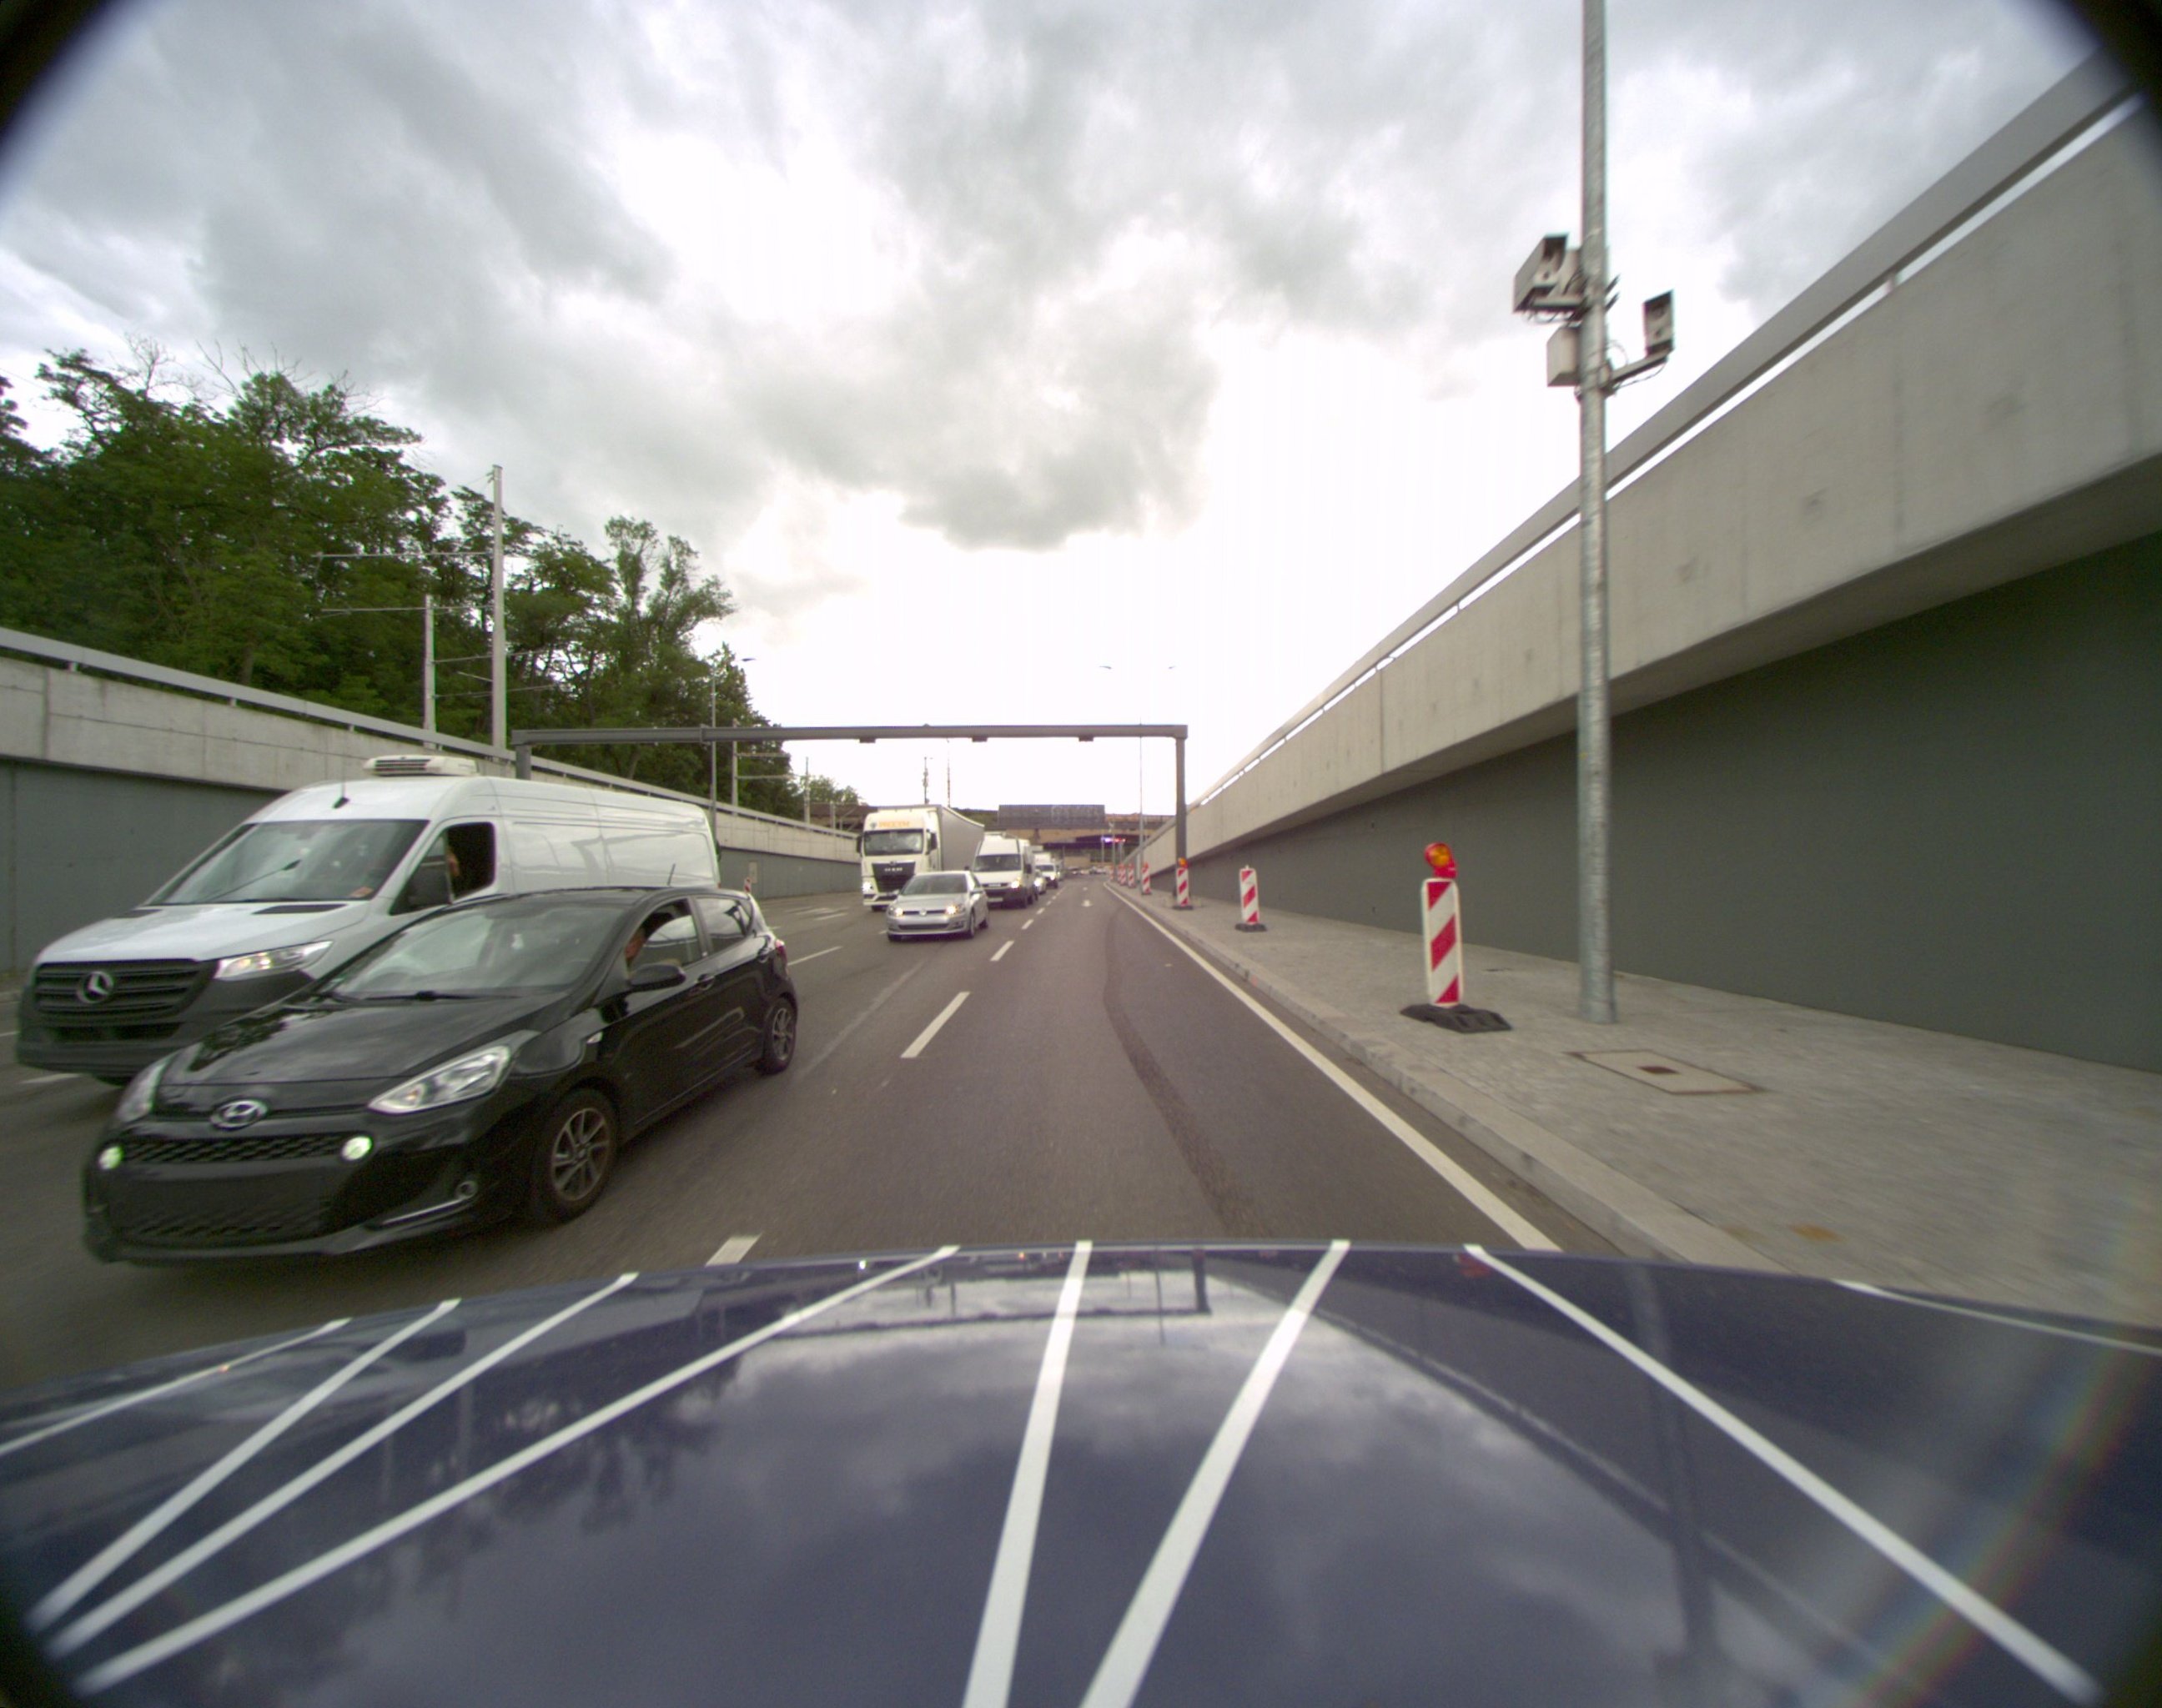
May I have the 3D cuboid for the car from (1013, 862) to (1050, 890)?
[{"bbox_3d":[-2.729,1.195,42.944,1.720,1.390,4.347,-1,0,0],"label":"car"}]

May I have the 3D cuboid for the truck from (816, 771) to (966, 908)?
[{"bbox_3d":[-7.200,-0.476,30.215,3.814,4.604,7.442,-3,0,0],"label":"truck"}]

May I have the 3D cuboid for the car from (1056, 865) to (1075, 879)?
[{"bbox_3d":[-2.451,2.774,117.283,2.000,2.002,4.409,-5,0,-11],"label":"car"}]

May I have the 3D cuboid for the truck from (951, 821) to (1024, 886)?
[{"bbox_3d":[-6.606,-0.029,55.607,3.734,4.117,10.983,-3,0,0],"label":"truck"}]

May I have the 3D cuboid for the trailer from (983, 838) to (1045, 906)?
[{"bbox_3d":[-2.858,0.734,33.656,2.108,2.623,4.809,-5,0,0],"label":"trailer"}]

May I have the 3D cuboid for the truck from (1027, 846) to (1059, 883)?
[{"bbox_3d":[-4.215,1.109,82.349,3.033,3.566,8.947,-5,0,-4],"label":"truck"}]

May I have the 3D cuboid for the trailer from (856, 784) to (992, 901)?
[{"bbox_3d":[-7.147,-0.434,37.193,3.814,4.604,12.114,-3,0,0],"label":"trailer"}]

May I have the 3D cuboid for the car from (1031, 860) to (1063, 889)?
[{"bbox_3d":[-2.498,1.477,56.923,1.998,1.978,5.199,-3,0,0],"label":"car"}]

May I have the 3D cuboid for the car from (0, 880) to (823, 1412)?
[{"bbox_3d":[-3.048,1.055,4.364,1.686,1.536,3.692,-2,1,2],"label":"car"}]

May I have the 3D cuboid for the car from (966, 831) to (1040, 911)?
[{"bbox_3d":[-2.870,0.666,29.401,2.063,2.612,5.943,-5,-1,0],"label":"car"}]

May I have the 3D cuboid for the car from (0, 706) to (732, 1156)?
[{"bbox_3d":[-6.587,0.525,8.362,2.080,2.756,7.326,-2,0,0],"label":"car"}]

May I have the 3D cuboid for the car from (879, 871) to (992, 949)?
[{"bbox_3d":[-3.111,1.155,16.985,1.768,1.375,4.038,-1,1,-1],"label":"car"}]

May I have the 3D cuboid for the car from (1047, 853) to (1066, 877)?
[{"bbox_3d":[-3.113,1.418,98.549,2.160,2.880,6.210,-3,0,0],"label":"car"}]
